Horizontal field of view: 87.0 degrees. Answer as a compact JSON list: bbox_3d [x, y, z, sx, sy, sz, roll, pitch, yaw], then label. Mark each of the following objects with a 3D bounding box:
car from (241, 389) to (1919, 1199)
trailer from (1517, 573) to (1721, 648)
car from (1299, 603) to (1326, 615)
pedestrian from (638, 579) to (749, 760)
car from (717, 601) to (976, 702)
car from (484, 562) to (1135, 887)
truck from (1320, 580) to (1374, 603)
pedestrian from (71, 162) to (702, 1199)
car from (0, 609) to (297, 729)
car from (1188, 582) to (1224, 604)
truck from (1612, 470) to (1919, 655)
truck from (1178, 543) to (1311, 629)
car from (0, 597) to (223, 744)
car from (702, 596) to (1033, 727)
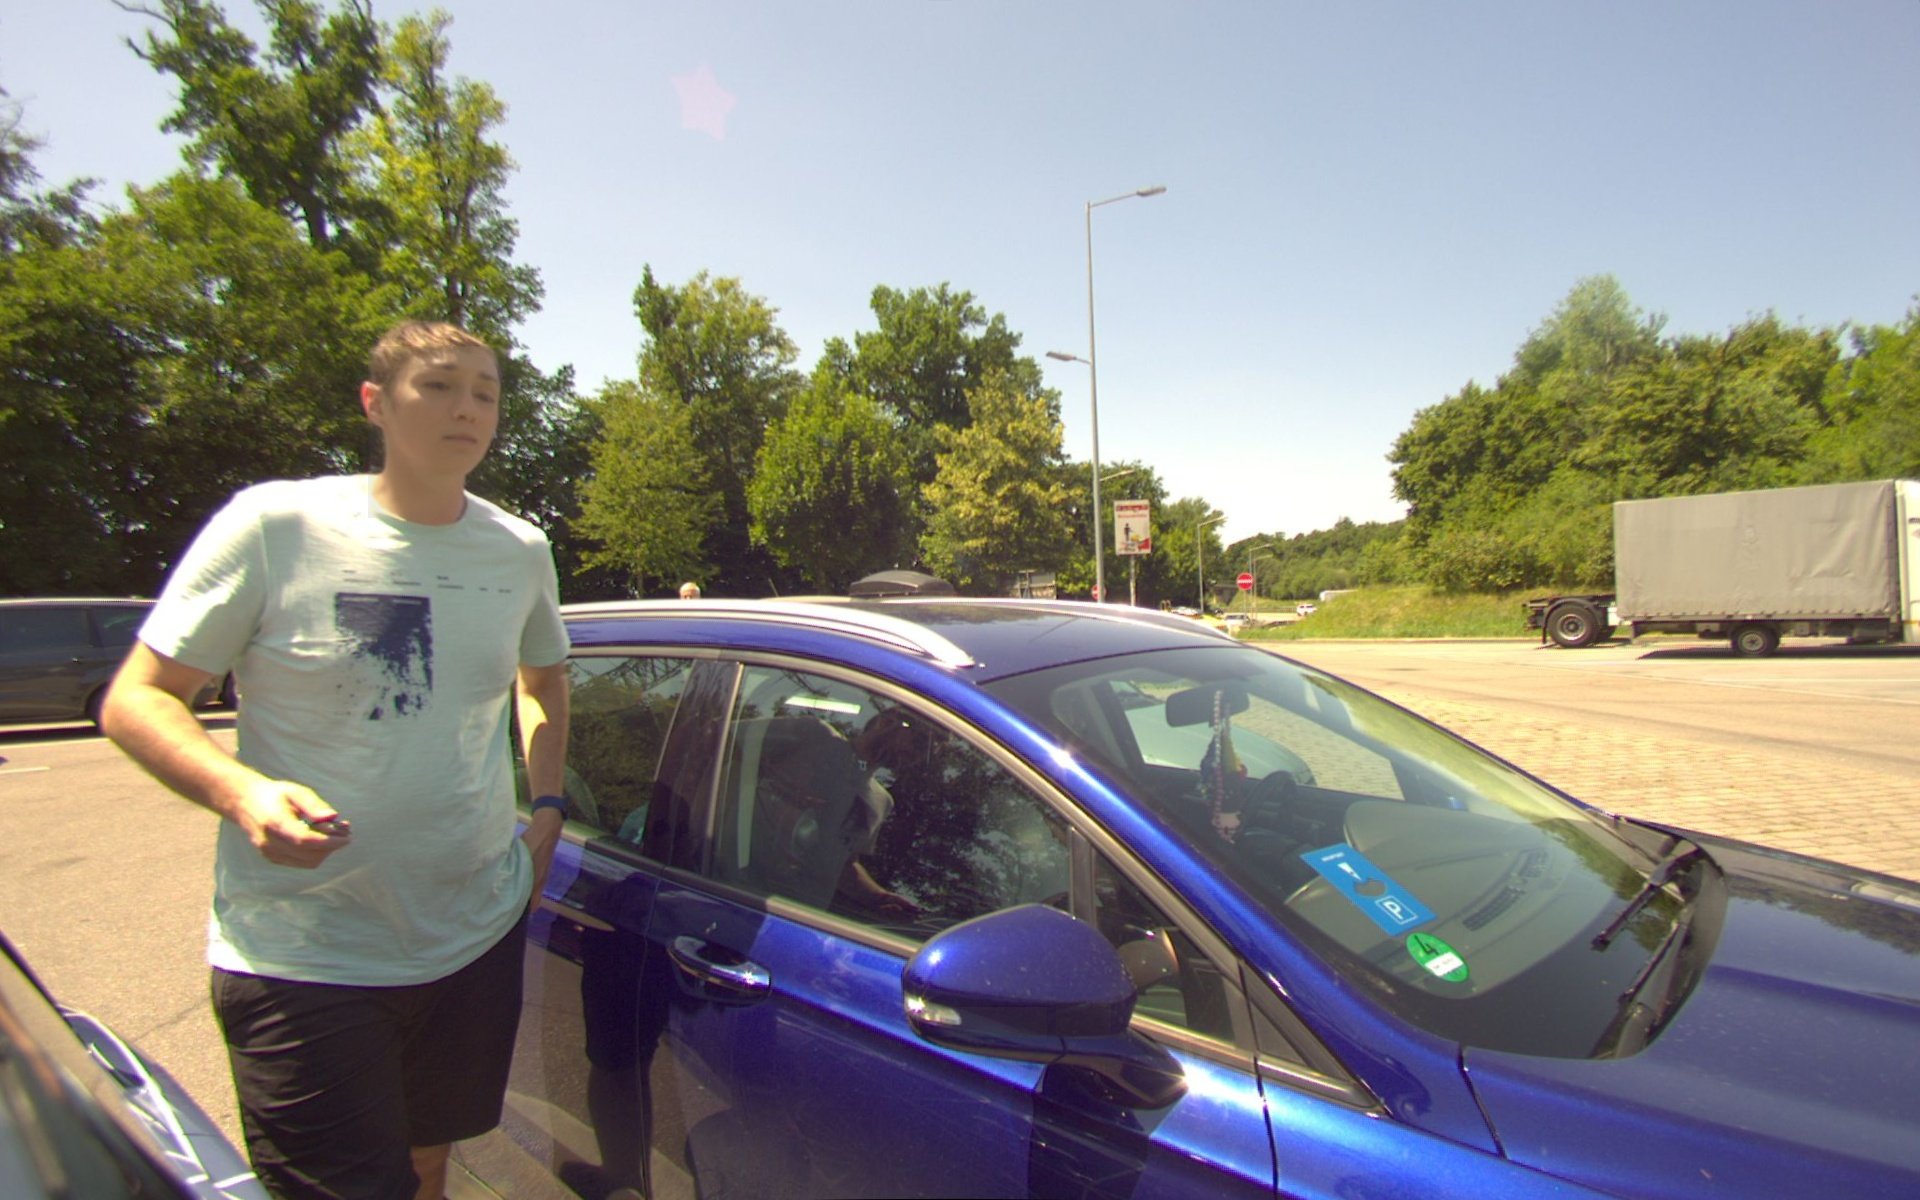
[{"bbox_3d":[0.237,0.633,2.112,4.466,1.476,1.756,-3,-1,40],"label":"car"},{"bbox_3d":[15.774,0.284,24.333,3.900,1.674,1.456,-3,-1,41],"label":"trailer"},{"bbox_3d":[59.138,1.531,169.753,1.965,1.874,4.013,-1,-1,-27],"label":"car"},{"bbox_3d":[-2.502,0.625,9.497,0.759,1.614,0.663,-3,-1,41],"label":"pedestrian"},{"bbox_3d":[-2.016,0.836,17.096,4.466,1.476,1.756,-3,-1,40],"label":"car"},{"bbox_3d":[-1.249,0.636,6.737,4.466,1.476,1.756,-3,-1,40],"label":"car"},{"bbox_3d":[71.698,-1.566,187.978,3.426,3.554,13.567,-2,-2,-6],"label":"truck"},{"bbox_3d":[-0.865,0.381,1.557,0.578,1.722,0.678,-3,-2,41],"label":"pedestrian"},{"bbox_3d":[-12.715,0.979,15.617,3.910,1.598,1.782,-1,-1,-43],"label":"car"},{"bbox_3d":[17.998,-0.476,73.849,1.986,1.530,3.971,-2,-1,21],"label":"car"},{"bbox_3d":[16.722,-0.634,18.833,7.347,3.152,2.339,-3,-2,41],"label":"truck"},{"bbox_3d":[13.316,-0.601,47.439,5.782,3.720,1.987,-2,-1,20],"label":"truck"},{"bbox_3d":[-11.686,0.853,12.566,3.910,1.701,1.782,-1,-1,-43],"label":"car"},{"bbox_3d":[-1.364,0.763,13.543,4.466,1.476,1.756,-3,-1,40],"label":"car"}]
